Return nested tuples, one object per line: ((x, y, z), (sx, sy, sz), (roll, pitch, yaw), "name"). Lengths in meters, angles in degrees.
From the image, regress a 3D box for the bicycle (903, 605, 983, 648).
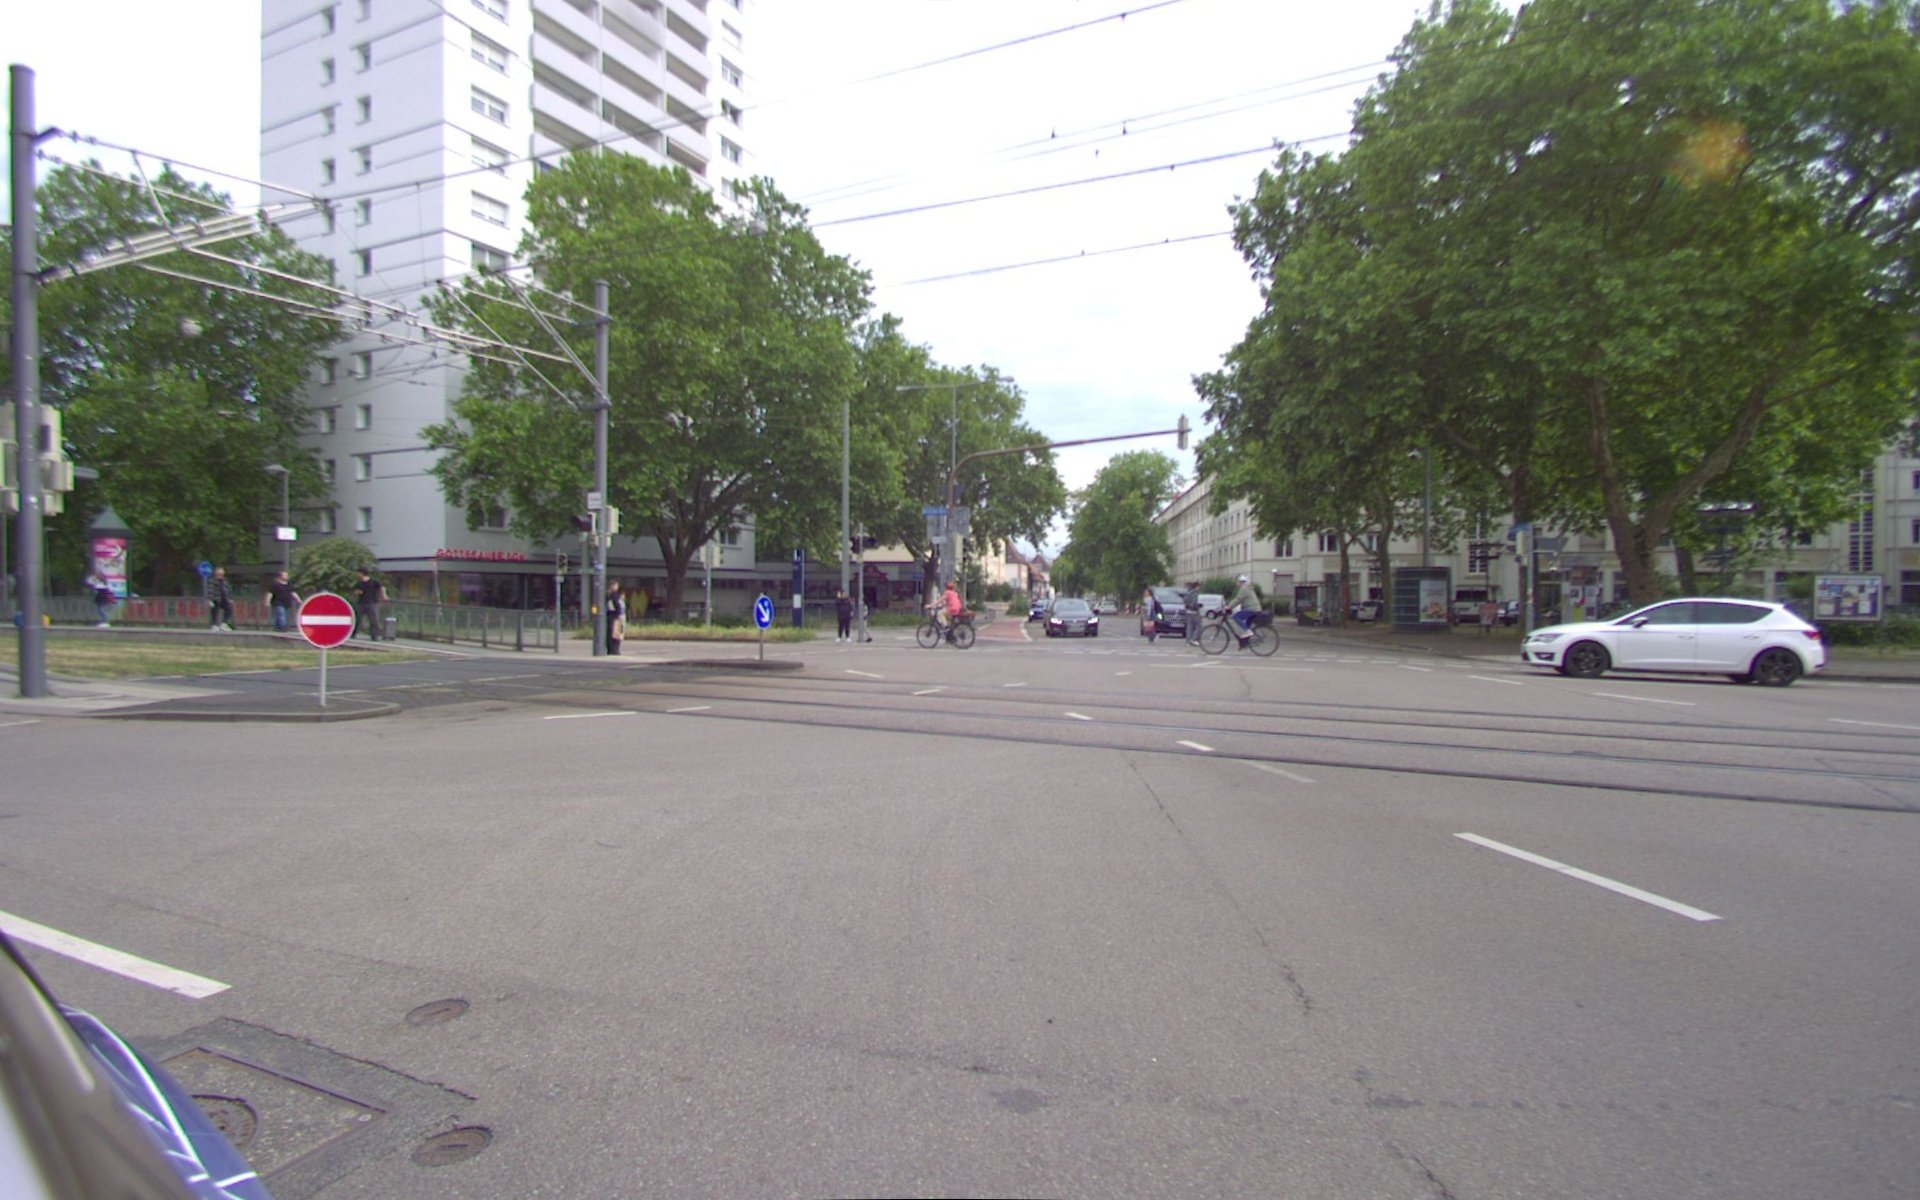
((-0.455, 0.695, 26.840), (1.982, 1.072, 0.723), (1, -1, 27), "bicycle")

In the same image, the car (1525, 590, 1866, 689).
((12.101, 0.587, 17.080), (4.391, 1.458, 1.831), (0, 2, 27), "car")

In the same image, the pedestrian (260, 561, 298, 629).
((-17.906, -0.142, 26.612), (0.546, 1.764, 0.617), (0, 1, 27), "pedestrian")

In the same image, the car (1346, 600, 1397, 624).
((25.556, 0.717, 63.019), (1.978, 1.400, 4.818), (0, 0, 10), "car")

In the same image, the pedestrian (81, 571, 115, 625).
((-26.873, -0.071, 31.556), (0.562, 1.681, 0.617), (0, 1, 27), "pedestrian")

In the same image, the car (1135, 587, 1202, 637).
((7.687, 0.485, 37.132), (1.898, 1.732, 3.714), (0, -2, 20), "car")

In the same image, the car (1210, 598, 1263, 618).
((20.770, 0.575, 76.220), (1.771, 1.497, 4.013), (0, 0, -23), "car")

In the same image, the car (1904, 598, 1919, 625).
((49.959, 0.604, 50.310), (2.060, 1.400, 4.818), (0, 0, 10), "car")

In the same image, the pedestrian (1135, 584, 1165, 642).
((5.682, 0.381, 30.220), (0.751, 1.703, 0.801), (0, 0, 22), "pedestrian")

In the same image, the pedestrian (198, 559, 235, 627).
((-19.984, -0.184, 27.208), (0.532, 1.803, 0.617), (0, 1, 27), "pedestrian")

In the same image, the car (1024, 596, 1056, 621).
((5.547, 0.579, 70.701), (1.909, 1.696, 3.999), (0, 0, 1), "car")

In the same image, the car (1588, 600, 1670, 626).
((37.267, 0.681, 56.542), (2.060, 1.400, 4.818), (0, 0, 10), "car")

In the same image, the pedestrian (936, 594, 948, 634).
((-0.617, 0.474, 35.055), (0.411, 1.375, 0.391), (-1, 1, -1), "pedestrian")

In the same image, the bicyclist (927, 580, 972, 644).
((-0.276, 0.313, 26.758), (0.989, 1.650, 0.702), (0, -2, 26), "bicyclist")

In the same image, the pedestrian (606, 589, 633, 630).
((-12.797, 0.350, 38.010), (0.851, 1.520, 0.548), (0, 1, 33), "pedestrian")

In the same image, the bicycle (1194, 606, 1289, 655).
((6.458, 0.694, 23.235), (1.983, 1.072, 0.723), (1, -1, 27), "bicycle")

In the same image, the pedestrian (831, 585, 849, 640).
((-3.601, 0.371, 30.403), (0.516, 1.624, 0.528), (-1, 1, -5), "pedestrian")

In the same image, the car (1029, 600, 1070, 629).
((4.659, 0.737, 52.999), (1.736, 1.431, 4.000), (0, 0, 0), "car")

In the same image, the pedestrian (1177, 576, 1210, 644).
((6.687, 0.271, 29.014), (0.677, 1.900, 0.690), (-1, 1, -11), "pedestrian")

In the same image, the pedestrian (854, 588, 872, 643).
((-2.877, 0.450, 30.085), (0.497, 1.624, 0.367), (-1, 1, -5), "pedestrian")

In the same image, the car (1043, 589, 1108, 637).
((4.468, 0.523, 38.620), (1.651, 1.732, 3.714), (0, -2, 20), "car")

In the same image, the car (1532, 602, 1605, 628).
((34.737, 0.846, 57.920), (1.978, 1.400, 4.818), (0, 0, 10), "car")

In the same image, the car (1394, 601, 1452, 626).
((27.918, 0.789, 61.190), (1.978, 1.400, 4.818), (0, 0, 10), "car")

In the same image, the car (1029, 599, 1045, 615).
((10.018, 0.900, 131.743), (1.974, 2.028, 3.997), (0, 1, 3), "car")

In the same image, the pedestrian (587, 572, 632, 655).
((-7.631, 0.278, 22.046), (0.624, 1.763, 0.650), (0, 1, 29), "pedestrian")

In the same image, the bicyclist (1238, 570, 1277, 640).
((6.769, 0.121, 23.050), (0.753, 1.574, 0.579), (0, -2, 27), "bicyclist")

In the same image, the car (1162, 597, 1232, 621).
((17.257, 0.616, 73.650), (4.795, 1.676, 1.987), (0, 0, 20), "car")

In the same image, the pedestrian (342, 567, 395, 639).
((-14.343, 0.051, 24.535), (0.874, 1.708, 0.736), (0, 1, 27), "pedestrian")

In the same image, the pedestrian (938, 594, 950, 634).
((-0.569, 0.480, 35.351), (0.411, 1.375, 0.391), (-1, 1, -1), "pedestrian")
